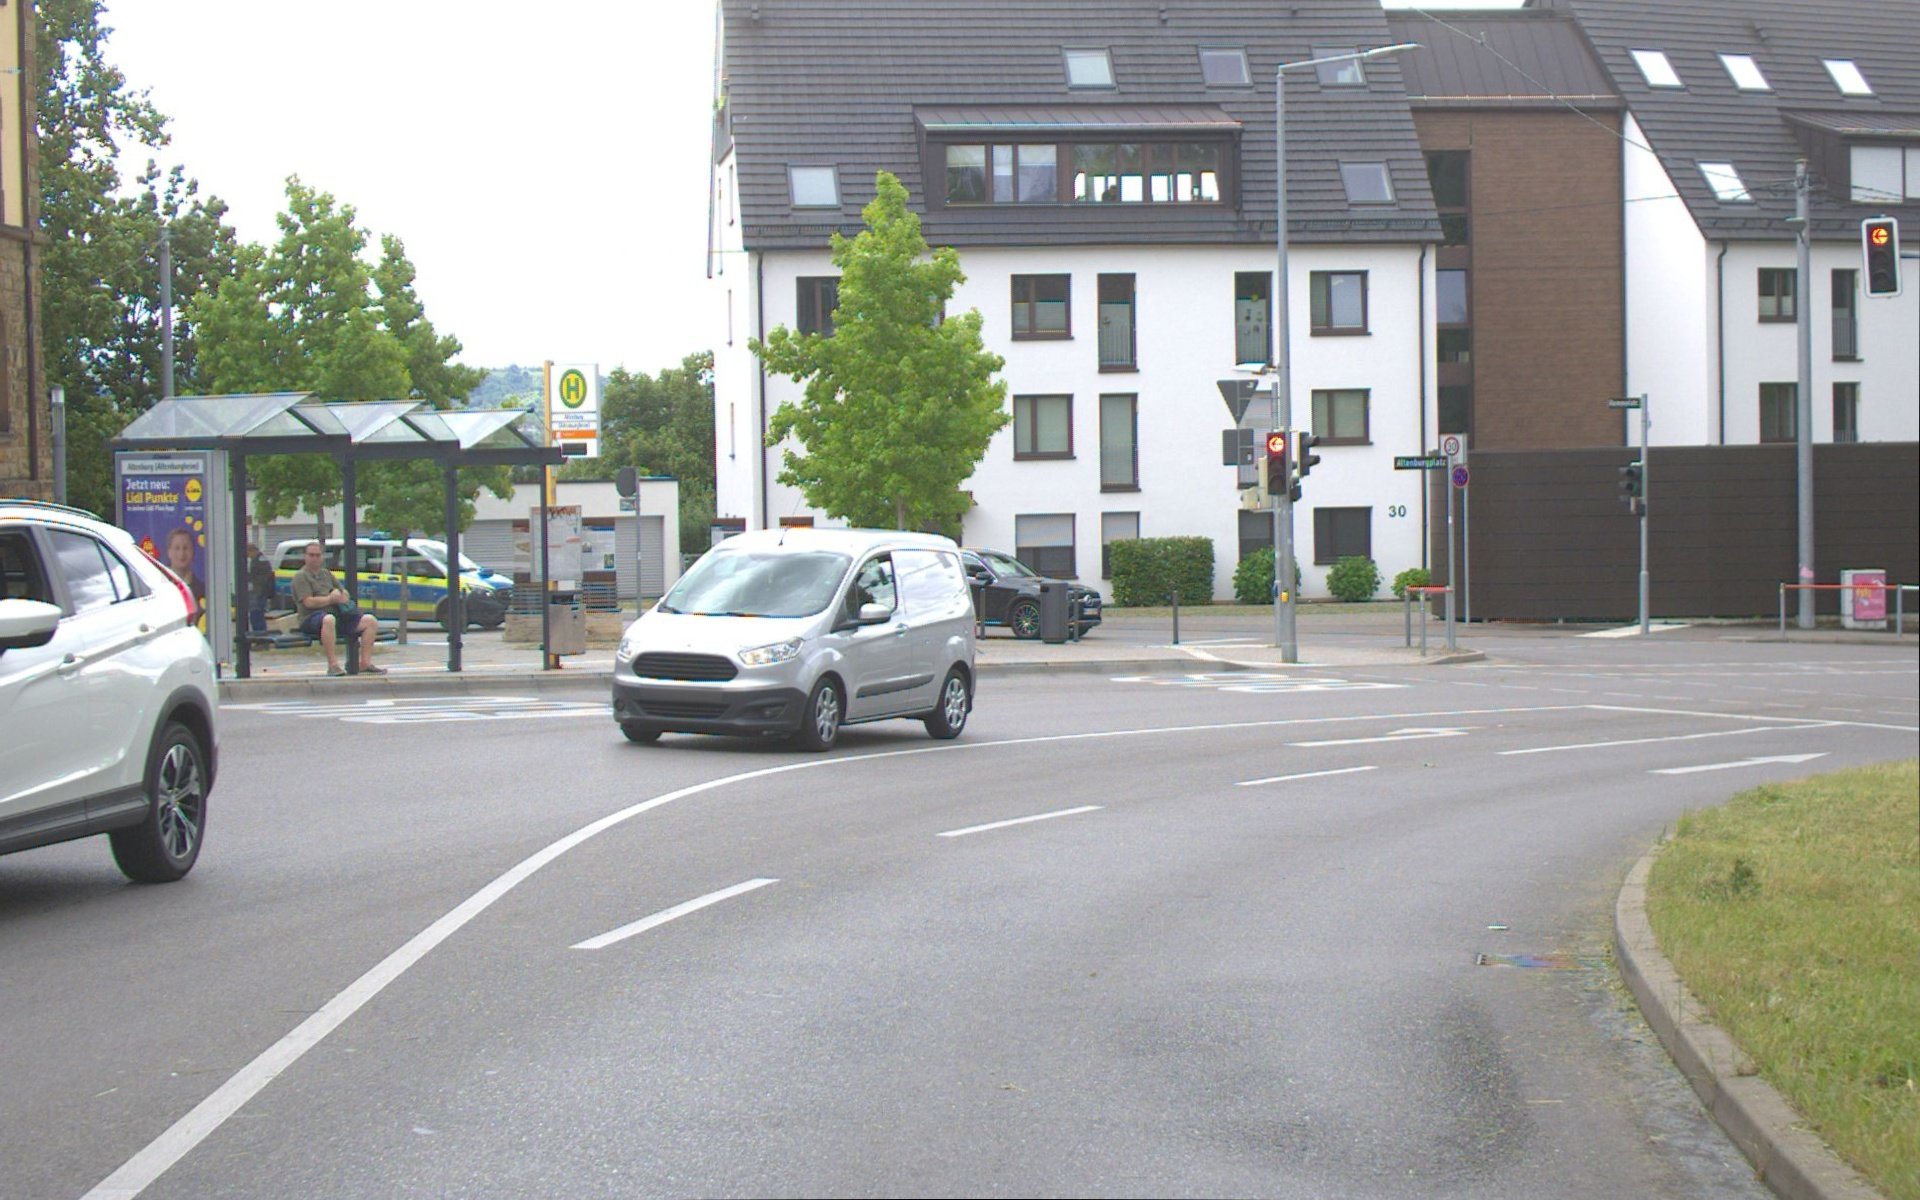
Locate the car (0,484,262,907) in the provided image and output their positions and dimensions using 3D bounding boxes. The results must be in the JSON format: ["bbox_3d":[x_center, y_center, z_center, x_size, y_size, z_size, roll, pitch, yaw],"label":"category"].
[{"bbox_3d":[-4.444,0.359,13.739,1.792,1.605,4.507,0,1,9],"label":"car"}]

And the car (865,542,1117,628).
[{"bbox_3d":[0.567,-0.287,64.364,4.267,1.508,1.996,2,0,31],"label":"car"}]

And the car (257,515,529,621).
[{"bbox_3d":[-11.533,-0.652,70.114,5.076,2.007,1.999,1,0,7],"label":"car"}]

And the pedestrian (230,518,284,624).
[{"bbox_3d":[-10.590,-0.432,51.788,0.538,1.572,0.653,1,1,14],"label":"pedestrian"}]

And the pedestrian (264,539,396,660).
[{"bbox_3d":[-6.367,-0.006,34.768,0.934,1.188,0.904,2,0,27],"label":"pedestrian"}]

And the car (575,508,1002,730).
[{"bbox_3d":[-1.284,0.138,27.553,1.694,1.608,4.078,2,0,25],"label":"car"}]
